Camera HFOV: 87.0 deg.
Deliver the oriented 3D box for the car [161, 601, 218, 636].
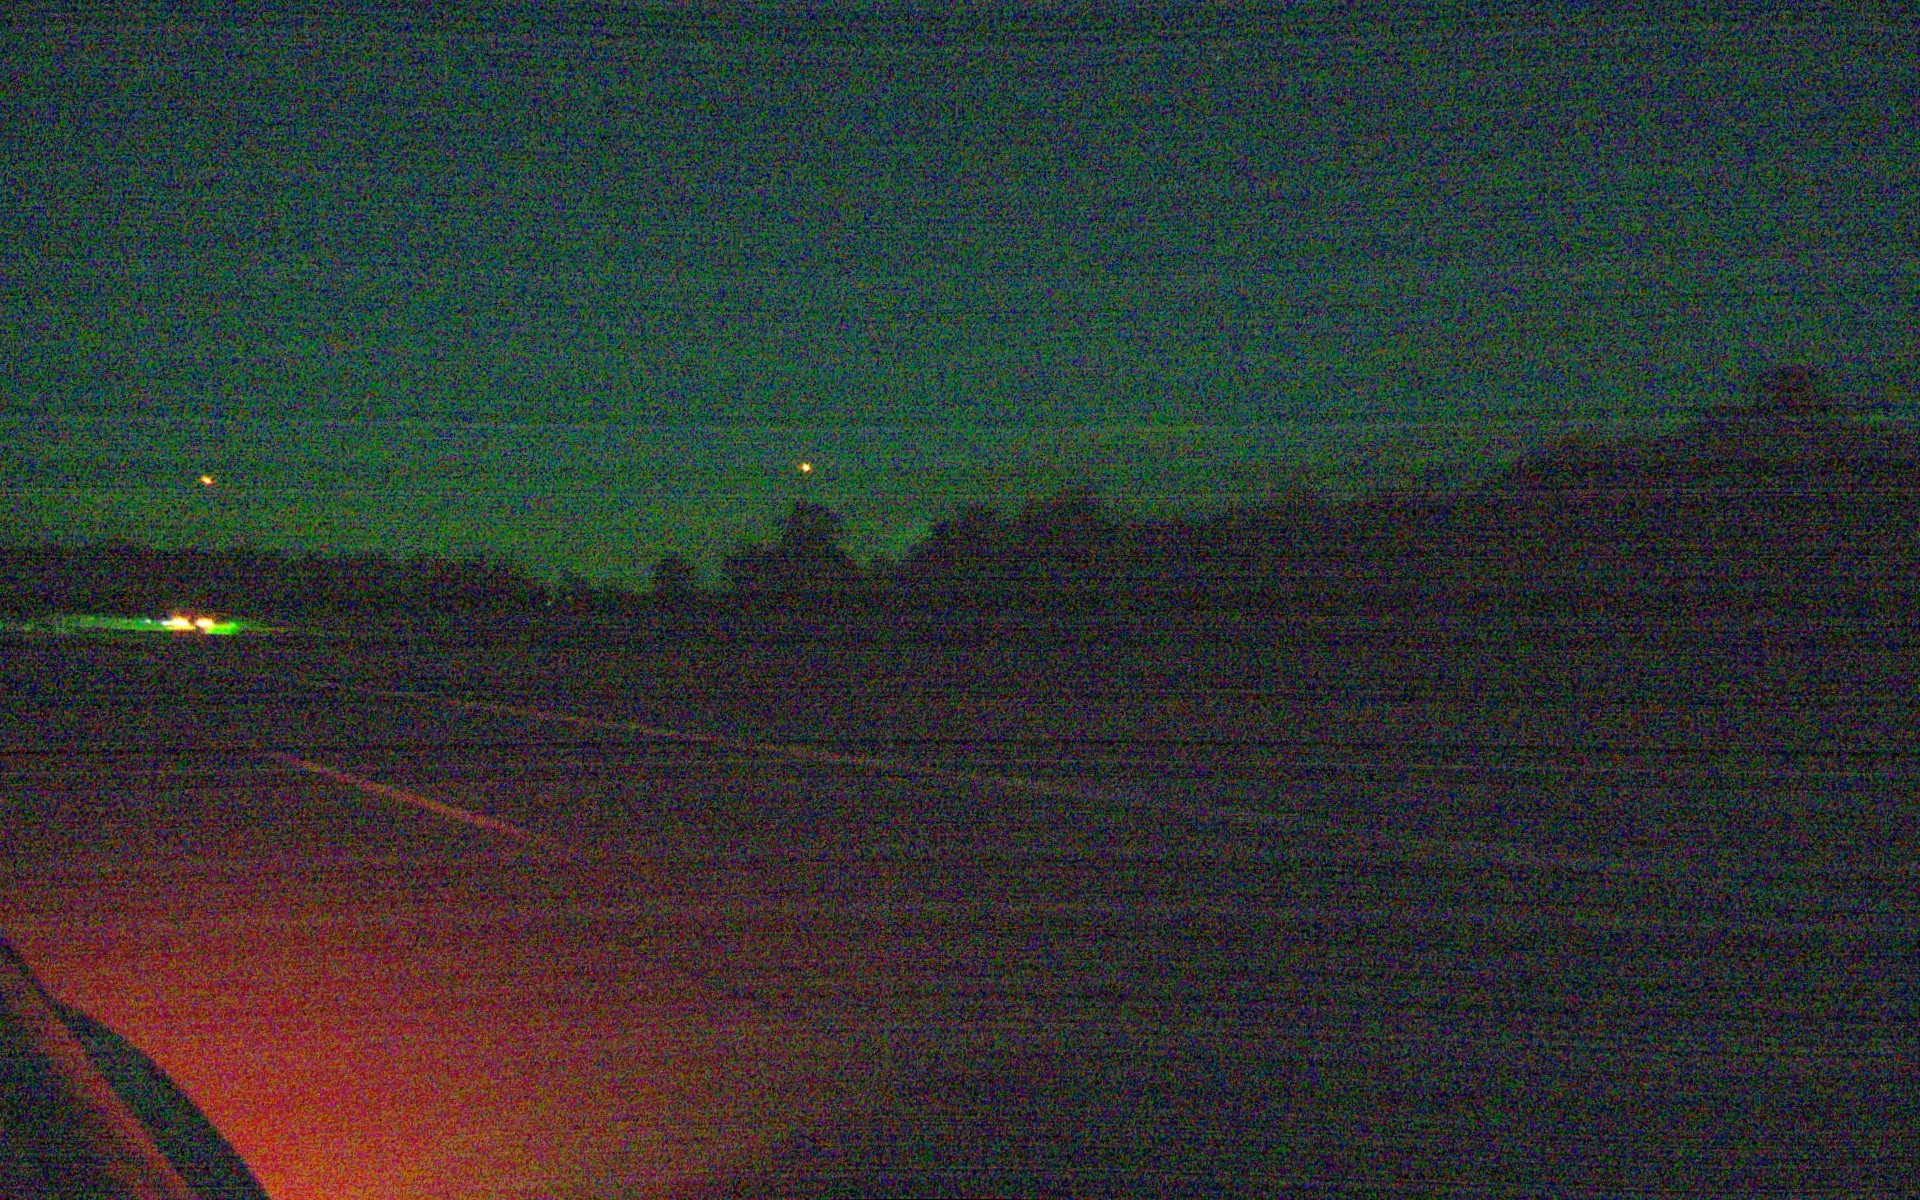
[{"bbox_3d":[-68.236,1.600,89.635,6.599,2.959,2.816,0,0,42],"label":"car"}]
